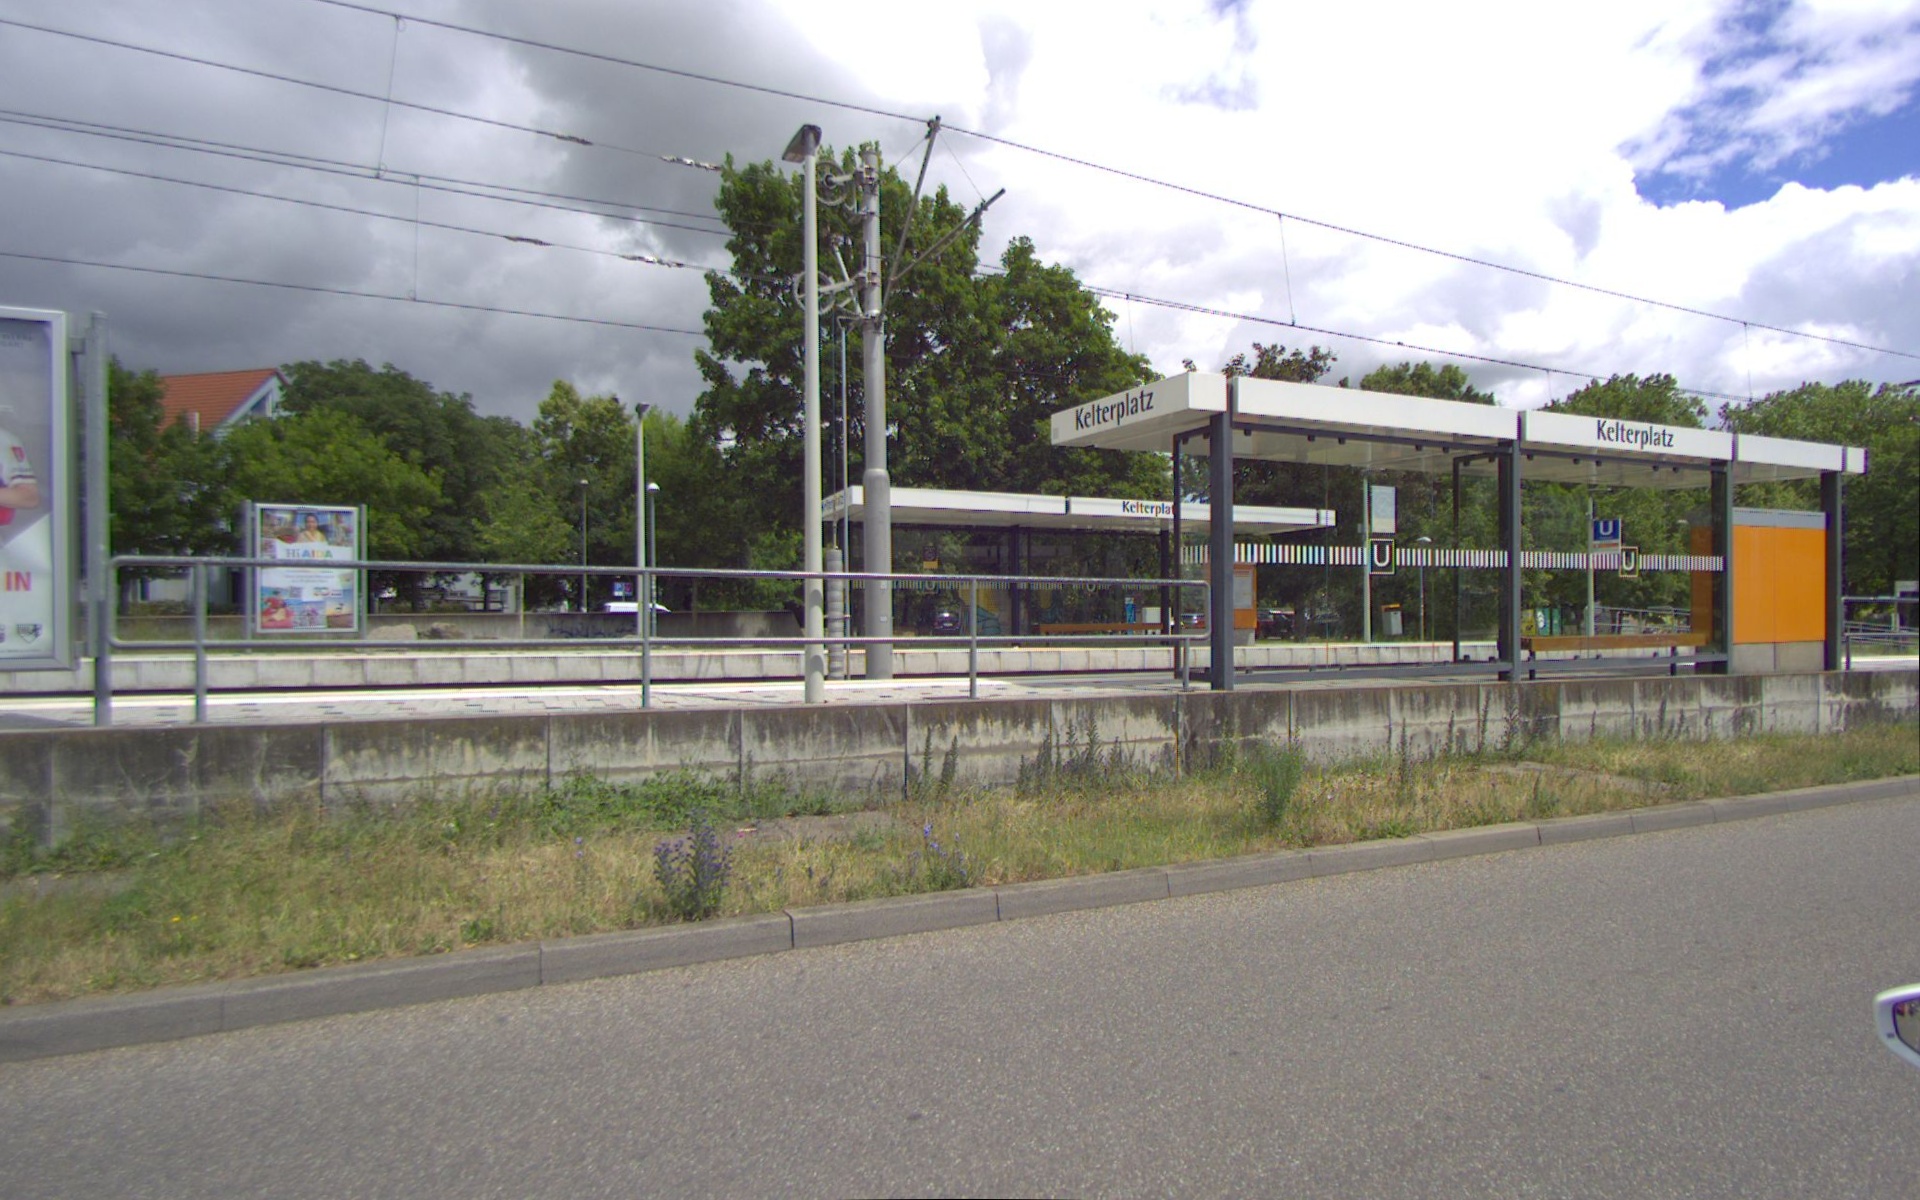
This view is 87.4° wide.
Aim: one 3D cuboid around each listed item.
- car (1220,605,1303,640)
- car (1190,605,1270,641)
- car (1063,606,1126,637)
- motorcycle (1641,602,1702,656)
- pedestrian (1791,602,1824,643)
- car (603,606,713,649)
[{"bbox_3d":[15.547,1.115,51.981,1.948,1.706,3.974,-1,0,-25],"label":"car"},{"bbox_3d":[13.596,1.139,50.797,2.025,1.728,3.625,-1,0,-25],"label":"car"},{"bbox_3d":[8.019,1.259,60.268,2.156,1.751,3.983,-1,0,-19],"label":"car"},{"bbox_3d":[27.535,1.114,38.900,1.948,2.040,0.834,0,0,-12],"label":"motorcycle"},{"bbox_3d":[42.748,1.119,50.678,0.806,2.040,0.962,-1,0,-6],"label":"pedestrian"},{"bbox_3d":[-13.098,1.146,43.568,4.344,1.701,1.938,-1,0,-24],"label":"car"}]
